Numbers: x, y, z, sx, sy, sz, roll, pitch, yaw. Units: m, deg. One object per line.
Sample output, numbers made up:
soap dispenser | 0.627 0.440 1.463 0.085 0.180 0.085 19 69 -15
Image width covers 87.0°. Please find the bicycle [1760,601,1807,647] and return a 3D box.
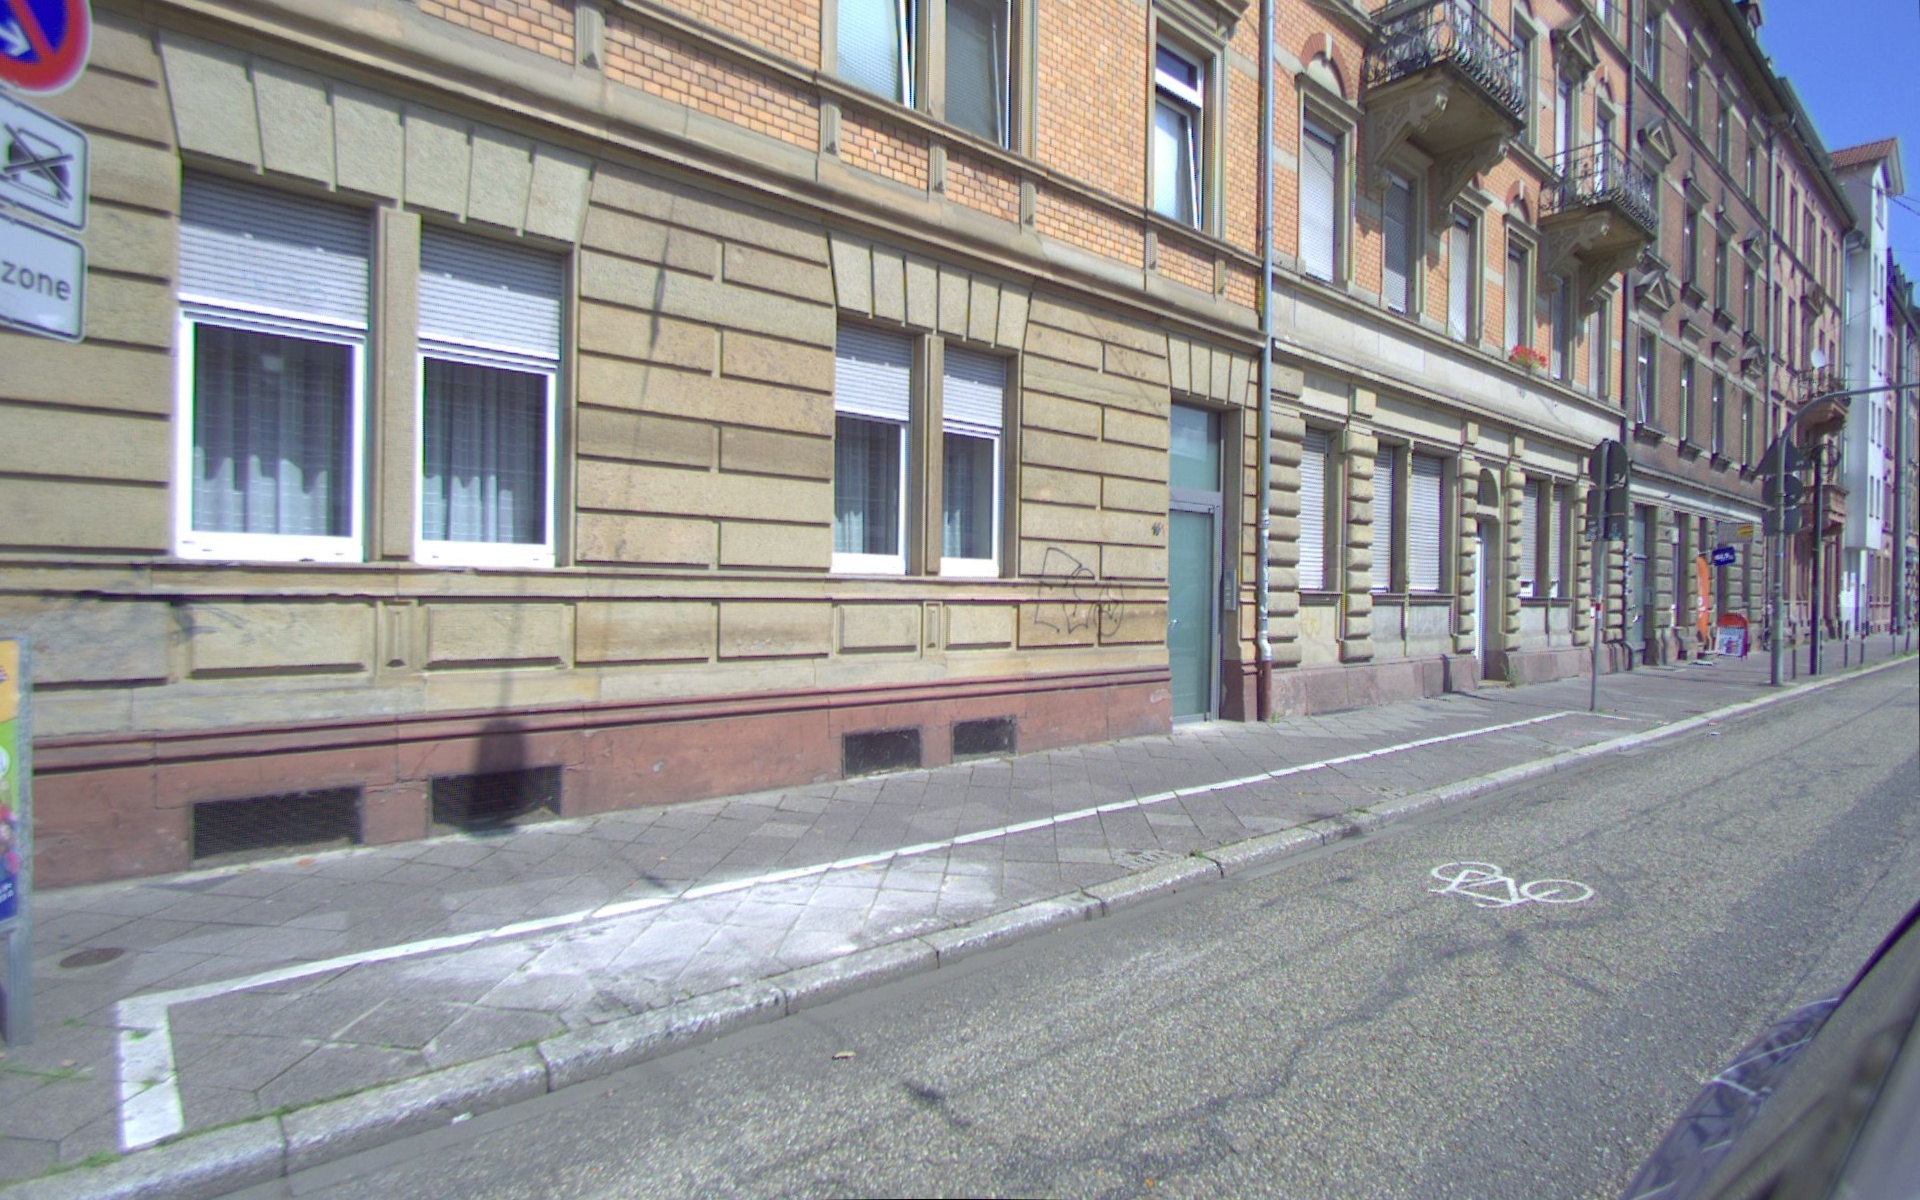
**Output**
bicycle | 22.520 0.644 27.653 2.166 1.193 0.587 0 1 -40
